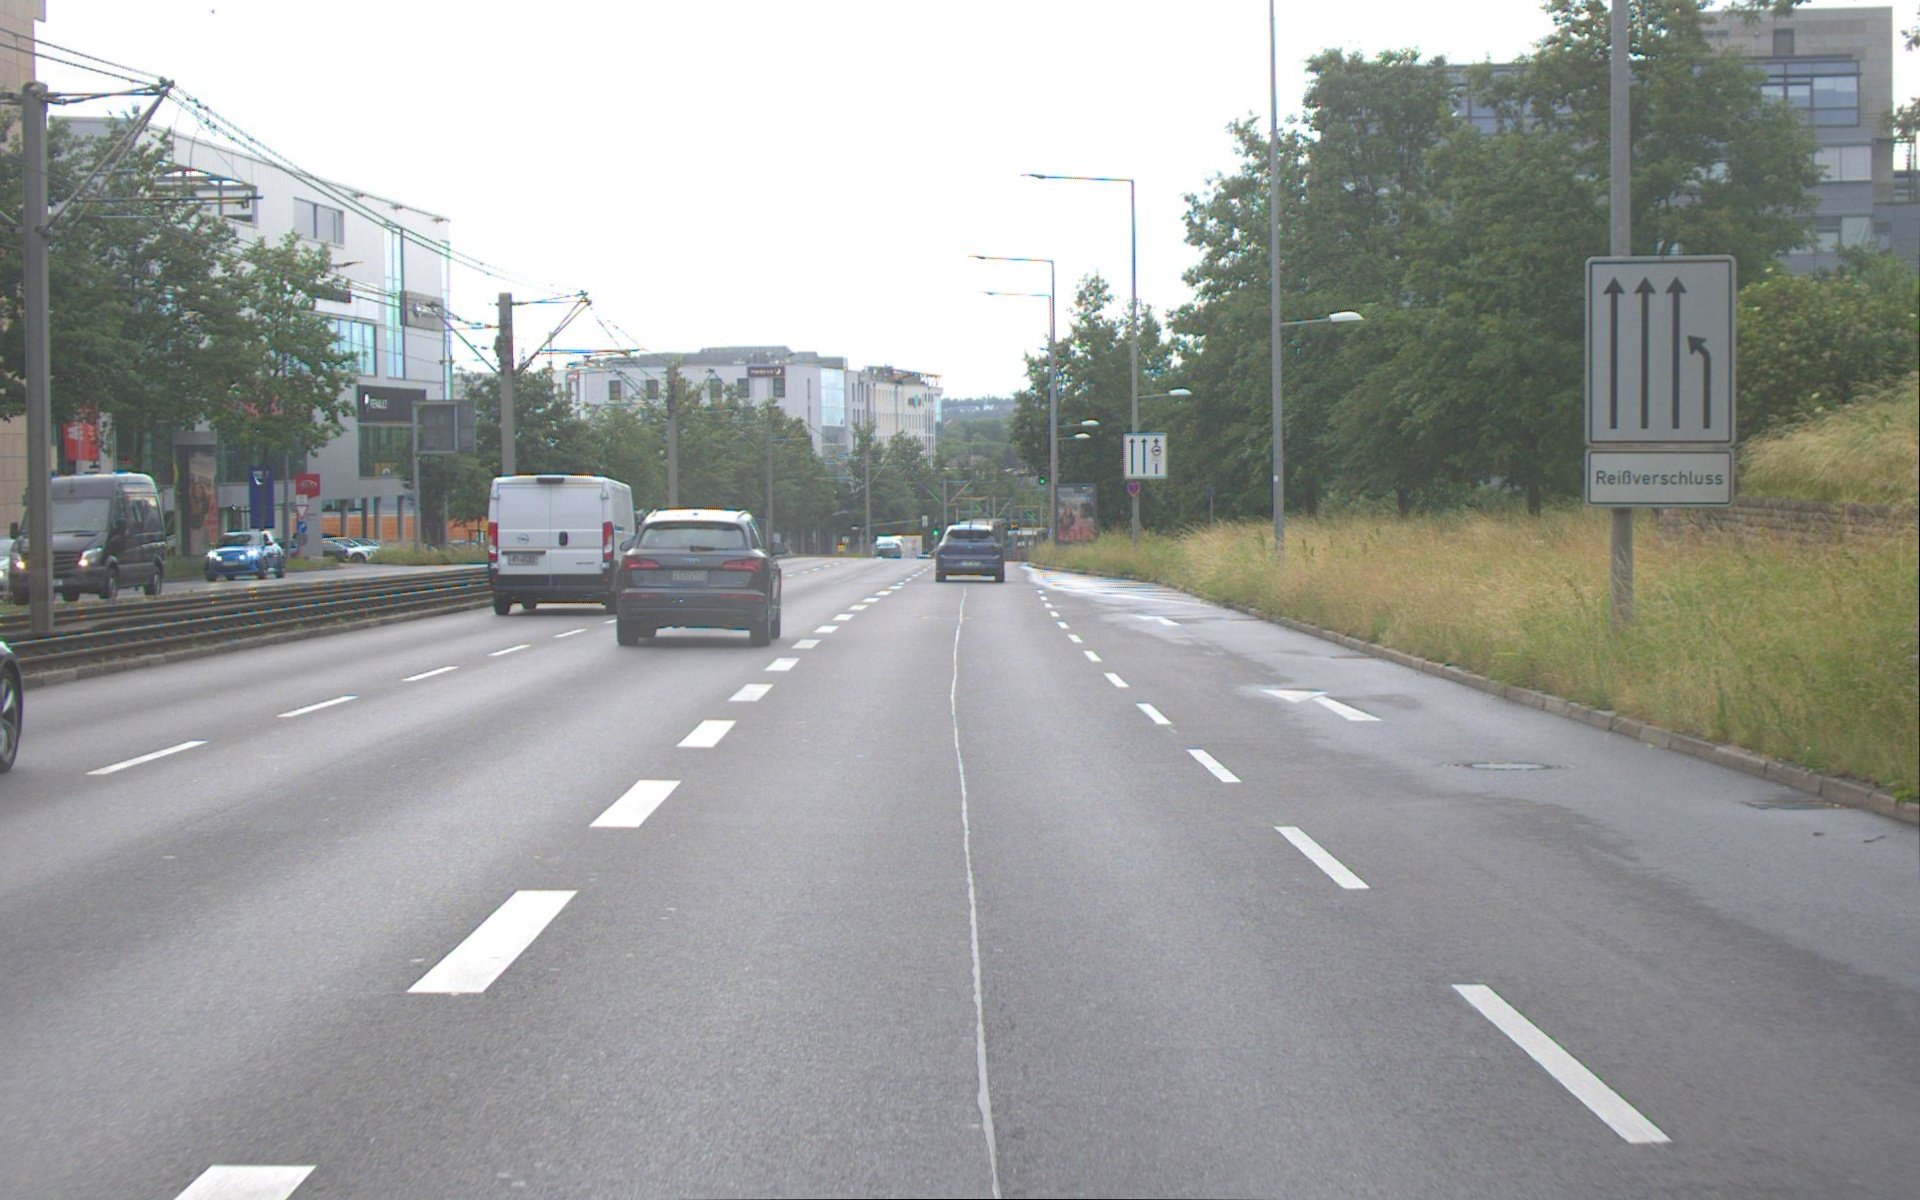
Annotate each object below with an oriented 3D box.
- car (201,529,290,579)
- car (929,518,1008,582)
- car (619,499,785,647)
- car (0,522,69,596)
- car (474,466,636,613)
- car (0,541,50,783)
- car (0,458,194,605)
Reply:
[{"bbox_3d":[-22.117,-1.415,106.575,1.841,1.449,4.024,1,0,1],"label":"car"},{"bbox_3d":[0.196,-1.274,88.046,1.789,1.585,4.000,-1,1,-3],"label":"car"},{"bbox_3d":[-3.150,-0.302,42.632,1.922,1.705,4.098,1,0,-3],"label":"car"},{"bbox_3d":[-20.620,-0.910,73.640,1.760,1.528,4.817,1,1,1],"label":"car"},{"bbox_3d":[-6.621,-0.998,56.724,2.267,2.277,4.760,1,1,-2],"label":"car"},{"bbox_3d":[-6.482,0.382,18.820,1.786,1.409,4.806,1,1,-1],"label":"car"},{"bbox_3d":[-17.400,-1.372,69.537,2.383,2.808,5.611,1,1,1],"label":"car"}]
